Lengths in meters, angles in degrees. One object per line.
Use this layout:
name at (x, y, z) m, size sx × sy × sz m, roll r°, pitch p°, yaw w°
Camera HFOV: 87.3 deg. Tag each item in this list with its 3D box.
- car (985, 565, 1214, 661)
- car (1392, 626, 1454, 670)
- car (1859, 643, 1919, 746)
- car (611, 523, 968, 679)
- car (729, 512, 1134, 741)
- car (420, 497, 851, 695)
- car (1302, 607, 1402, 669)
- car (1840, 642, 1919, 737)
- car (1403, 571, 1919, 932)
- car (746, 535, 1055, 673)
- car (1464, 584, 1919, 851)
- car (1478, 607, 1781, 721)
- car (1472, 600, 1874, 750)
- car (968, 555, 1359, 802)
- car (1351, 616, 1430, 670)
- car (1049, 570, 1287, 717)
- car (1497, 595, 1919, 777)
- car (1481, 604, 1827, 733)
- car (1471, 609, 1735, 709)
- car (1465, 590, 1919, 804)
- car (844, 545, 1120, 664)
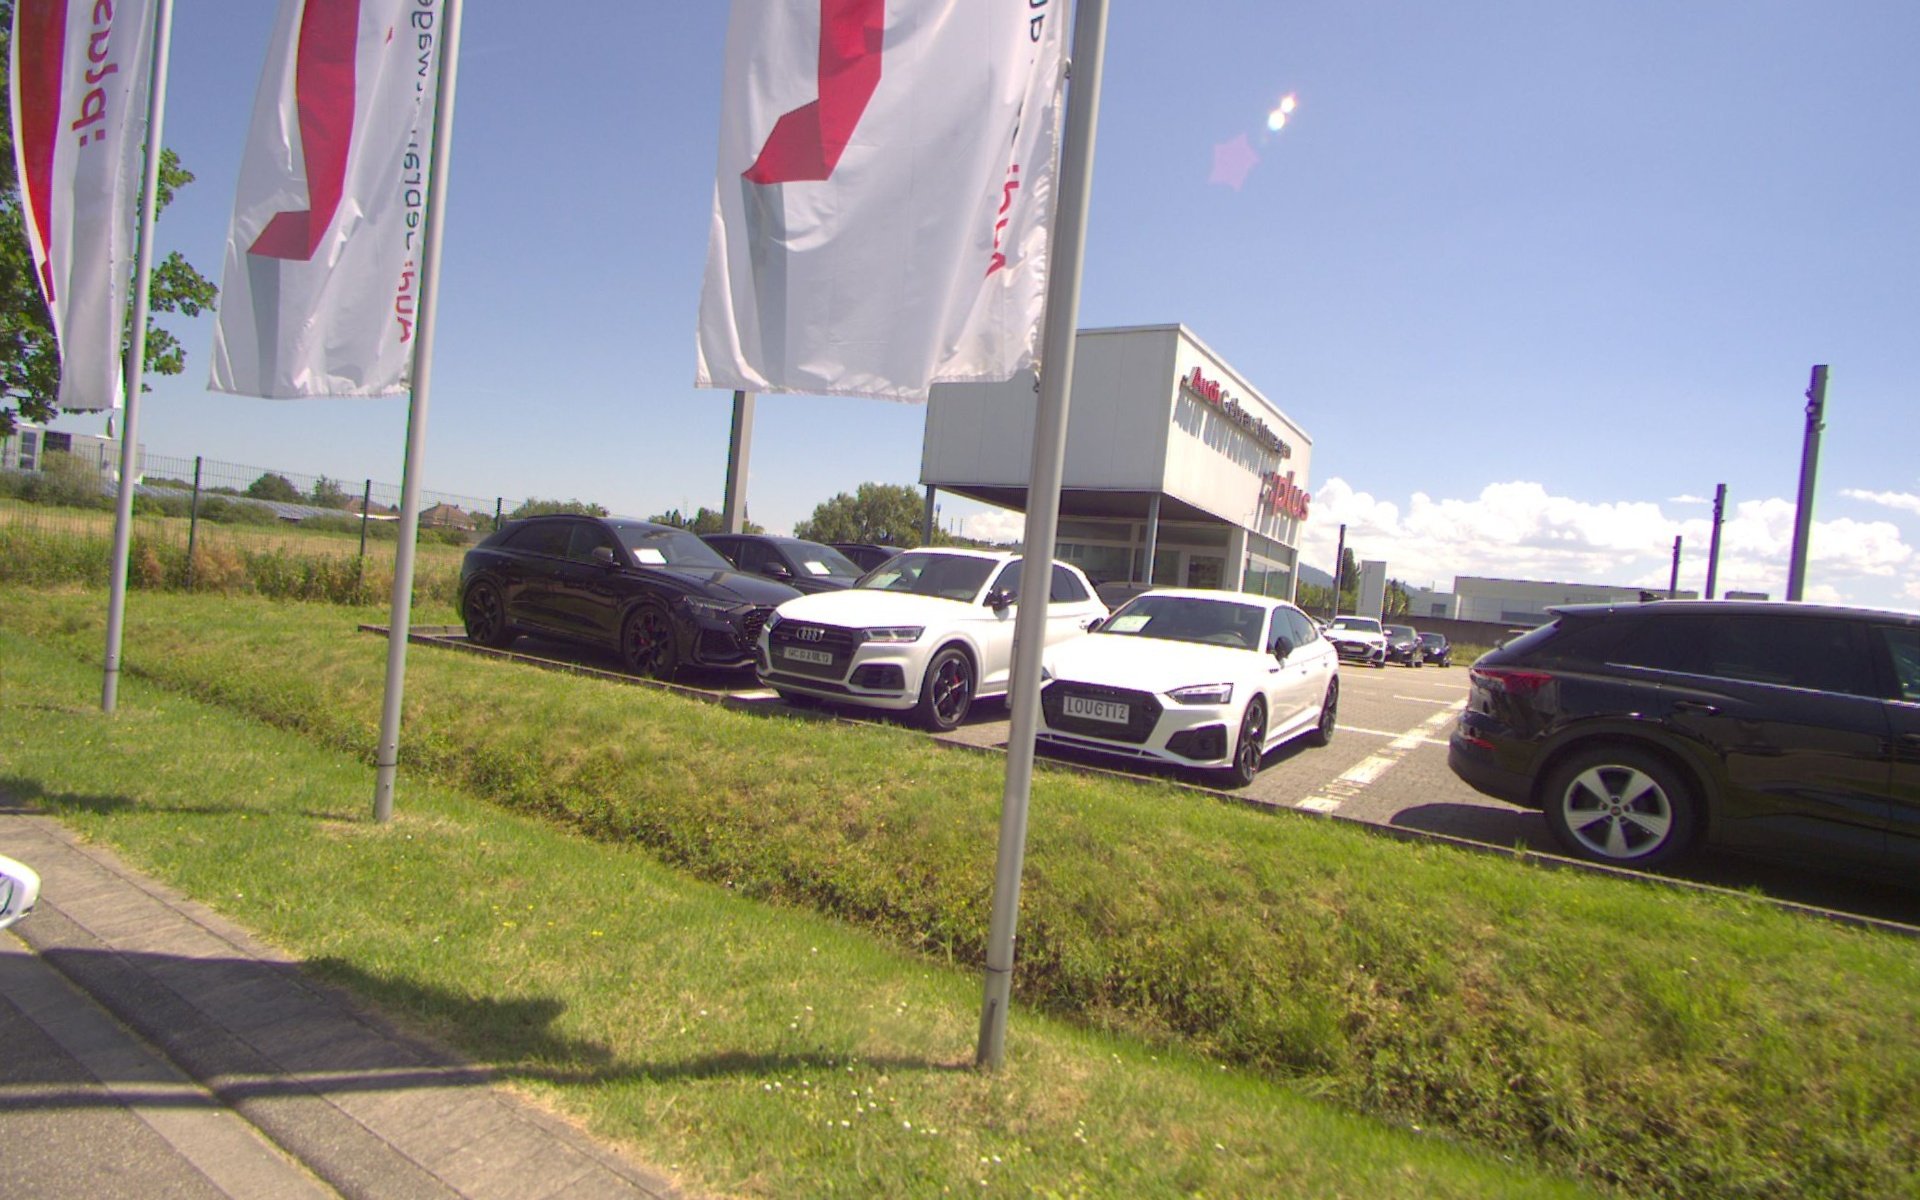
car at (3.172, 0.262, 23.278) m, size 4.731 × 1.676 × 2.024 m, roll 6°, pitch 2°, yaw 33°
car at (20.479, 2.075, 44.446) m, size 1.997 × 1.621 × 4.162 m, roll 6°, pitch 2°, yaw 30°
car at (16.903, 1.676, 14.989) m, size 4.822 × 1.477 × 2.023 m, roll 6°, pitch 3°, yaw 32°
car at (-2.465, -0.057, 14.053) m, size 4.731 × 1.632 × 2.024 m, roll 6°, pitch 2°, yaw 33°
car at (-0.010, 0.228, 10.379) m, size 1.997 × 1.715 × 4.531 m, roll 6°, pitch 2°, yaw 30°
car at (-3.908, -0.147, 11.744) m, size 5.026 × 1.715 × 2.024 m, roll 6°, pitch 2°, yaw 33°
car at (11.575, 1.156, 29.523) m, size 1.997 × 1.431 × 4.536 m, roll 6°, pitch -1°, yaw 30°
car at (18.216, 1.742, 16.860) m, size 4.822 × 1.477 × 2.023 m, roll 6°, pitch 3°, yaw 32°
car at (5.296, 0.861, 5.755) m, size 4.701 × 1.594 × 2.025 m, roll 6°, pitch 2°, yaw 32°
car at (-1.062, 0.007, 16.604) m, size 4.731 × 1.748 × 2.024 m, roll 6°, pitch 2°, yaw 33°
car at (6.795, 0.911, 7.991) m, size 4.701 × 1.611 × 2.025 m, roll 6°, pitch 2°, yaw 32°
car at (13.184, 1.184, 20.158) m, size 4.701 × 1.611 × 2.025 m, roll 6°, pitch 2°, yaw 32°
car at (10.761, 1.041, 15.664) m, size 4.701 × 1.611 × 2.025 m, roll 6°, pitch 2°, yaw 32°
car at (2.101, 0.553, 9.007) m, size 1.997 × 1.476 × 4.531 m, roll 6°, pitch 2°, yaw 30°
car at (15.407, 1.492, 35.886) m, size 1.997 × 1.621 × 4.162 m, roll 6°, pitch 2°, yaw 30°
car at (3.299, 0.605, 15.129) m, size 1.997 × 1.715 × 4.530 m, roll 6°, pitch 2°, yaw 31°
car at (9.545, 0.984, 12.617) m, size 4.701 × 1.611 × 2.025 m, roll 6°, pitch 2°, yaw 32°
car at (12.120, 1.109, 17.959) m, size 4.702 × 1.611 × 2.024 m, roll 6°, pitch 2°, yaw 33°
car at (14.343, 1.261, 22.749) m, size 4.701 × 1.611 × 2.025 m, roll 6°, pitch 2°, yaw 32°
car at (8.106, 0.939, 10.592) m, size 4.701 × 1.611 × 2.025 m, roll 6°, pitch 2°, yaw 32°
car at (0.347, 0.033, 18.858) m, size 4.731 × 1.702 × 2.024 m, roll 6°, pitch 2°, yaw 33°
